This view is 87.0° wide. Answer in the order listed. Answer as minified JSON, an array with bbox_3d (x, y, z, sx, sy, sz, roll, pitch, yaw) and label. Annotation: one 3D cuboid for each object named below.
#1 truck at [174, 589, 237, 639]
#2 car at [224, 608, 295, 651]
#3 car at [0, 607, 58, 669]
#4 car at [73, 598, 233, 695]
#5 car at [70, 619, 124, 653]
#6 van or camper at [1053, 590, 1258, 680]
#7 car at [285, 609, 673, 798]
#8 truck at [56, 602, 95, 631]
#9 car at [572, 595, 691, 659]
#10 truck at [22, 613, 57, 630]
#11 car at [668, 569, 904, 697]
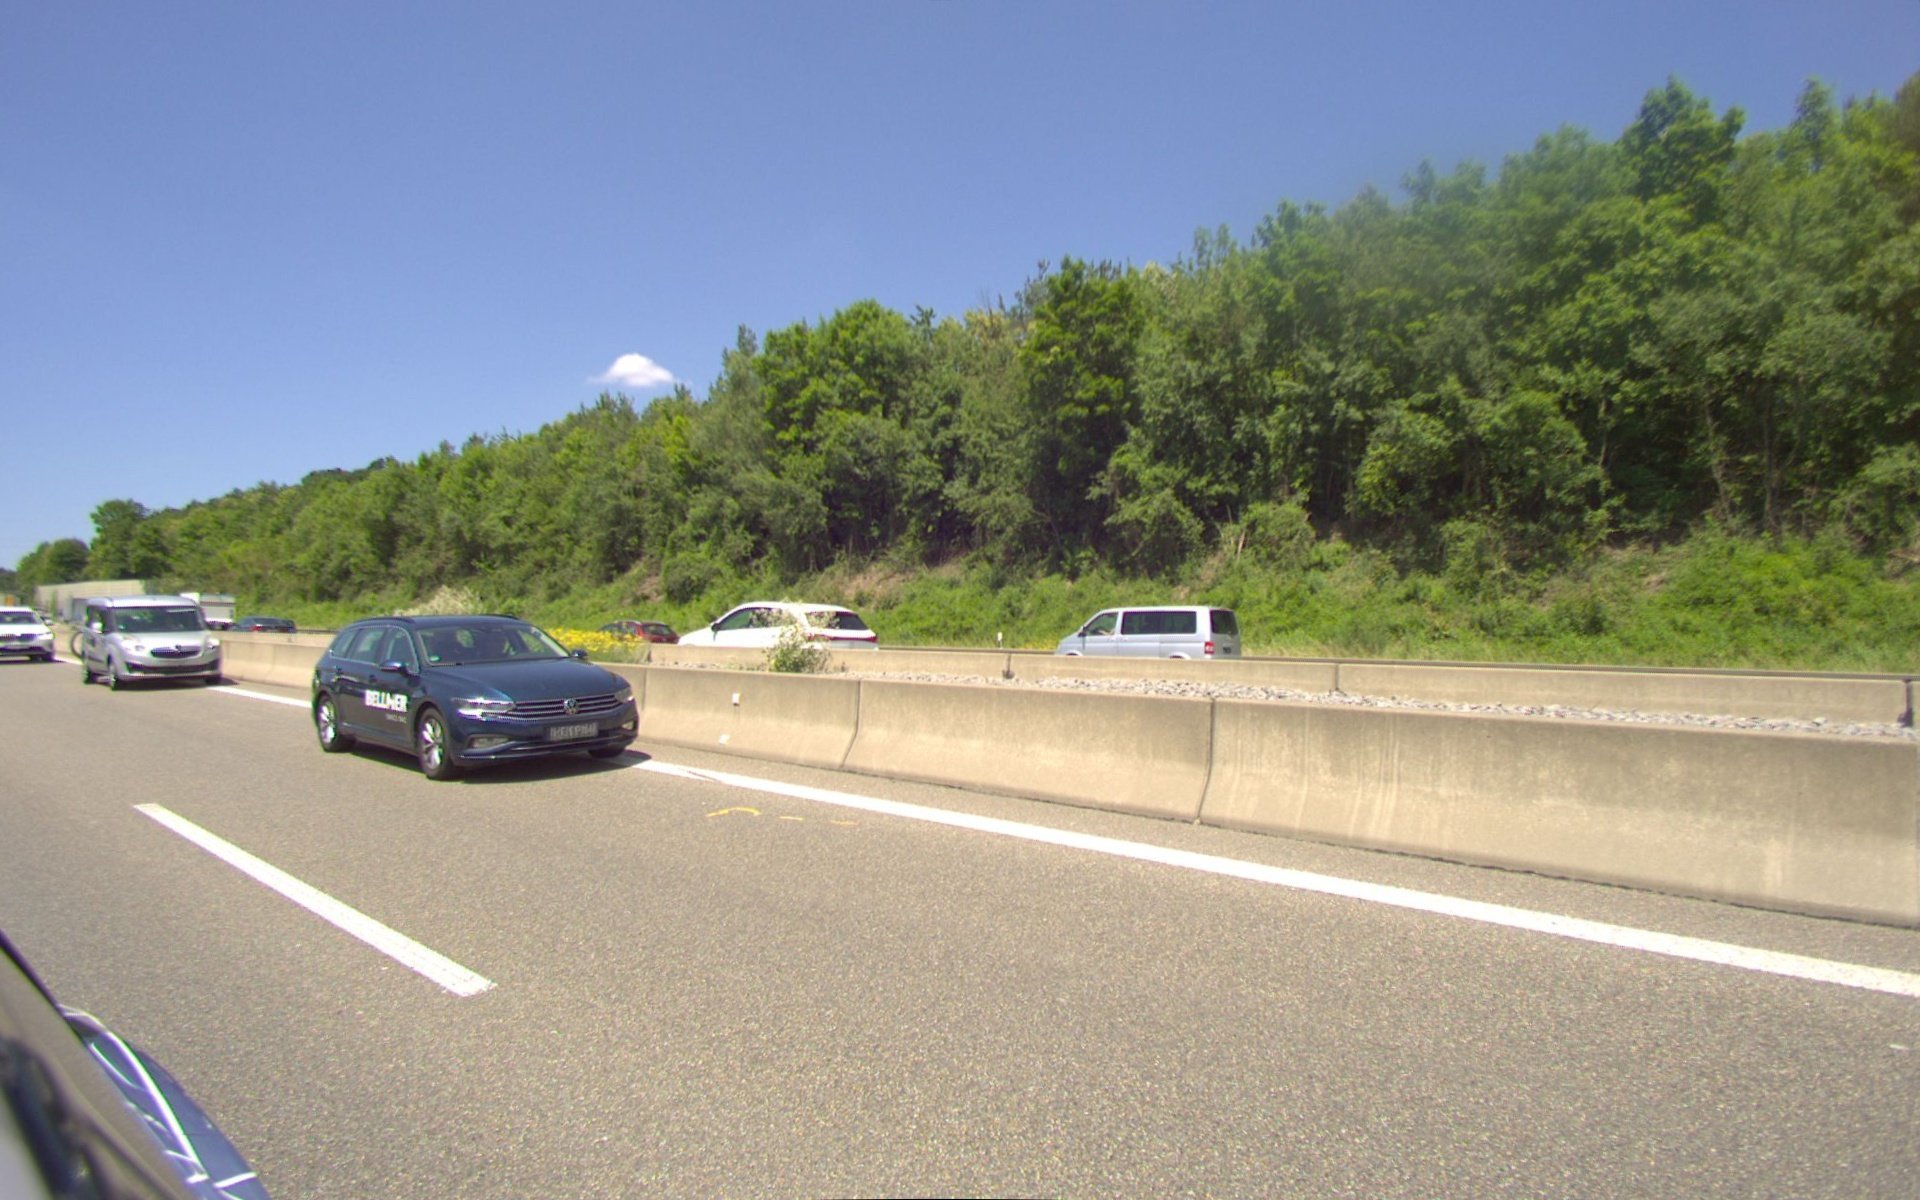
[{"bbox_3d":[-63.929,1.108,85.682,7.987,4.019,2.664,0,0,41],"label":"truck"},{"bbox_3d":[-34.652,1.415,50.021,3.998,2.029,1.973,0,0,41],"label":"car"},{"bbox_3d":[-28.608,1.095,30.385,3.998,1.719,1.800,0,0,41],"label":"car"},{"bbox_3d":[-16.806,0.851,20.970,4.917,1.786,1.833,0,0,42],"label":"car"},{"bbox_3d":[-50.928,2.088,59.693,3.998,1.896,1.887,0,0,41],"label":"car"},{"bbox_3d":[4.761,0.780,25.097,4.679,2.029,1.972,0,0,42],"label":"van or camper"},{"bbox_3d":[-5.027,0.838,10.237,4.676,1.461,1.855,0,0,41],"label":"car"},{"bbox_3d":[-93.788,1.684,107.290,6.738,2.906,2.155,0,0,41],"label":"truck"},{"bbox_3d":[-11.147,0.856,34.191,4.282,2.029,1.972,0,0,42],"label":"car"},{"bbox_3d":[-114.507,2.640,125.860,6.487,2.029,2.327,0,0,40],"label":"truck"},{"bbox_3d":[-3.188,0.519,18.155,4.190,2.029,1.973,0,0,40],"label":"car"}]
